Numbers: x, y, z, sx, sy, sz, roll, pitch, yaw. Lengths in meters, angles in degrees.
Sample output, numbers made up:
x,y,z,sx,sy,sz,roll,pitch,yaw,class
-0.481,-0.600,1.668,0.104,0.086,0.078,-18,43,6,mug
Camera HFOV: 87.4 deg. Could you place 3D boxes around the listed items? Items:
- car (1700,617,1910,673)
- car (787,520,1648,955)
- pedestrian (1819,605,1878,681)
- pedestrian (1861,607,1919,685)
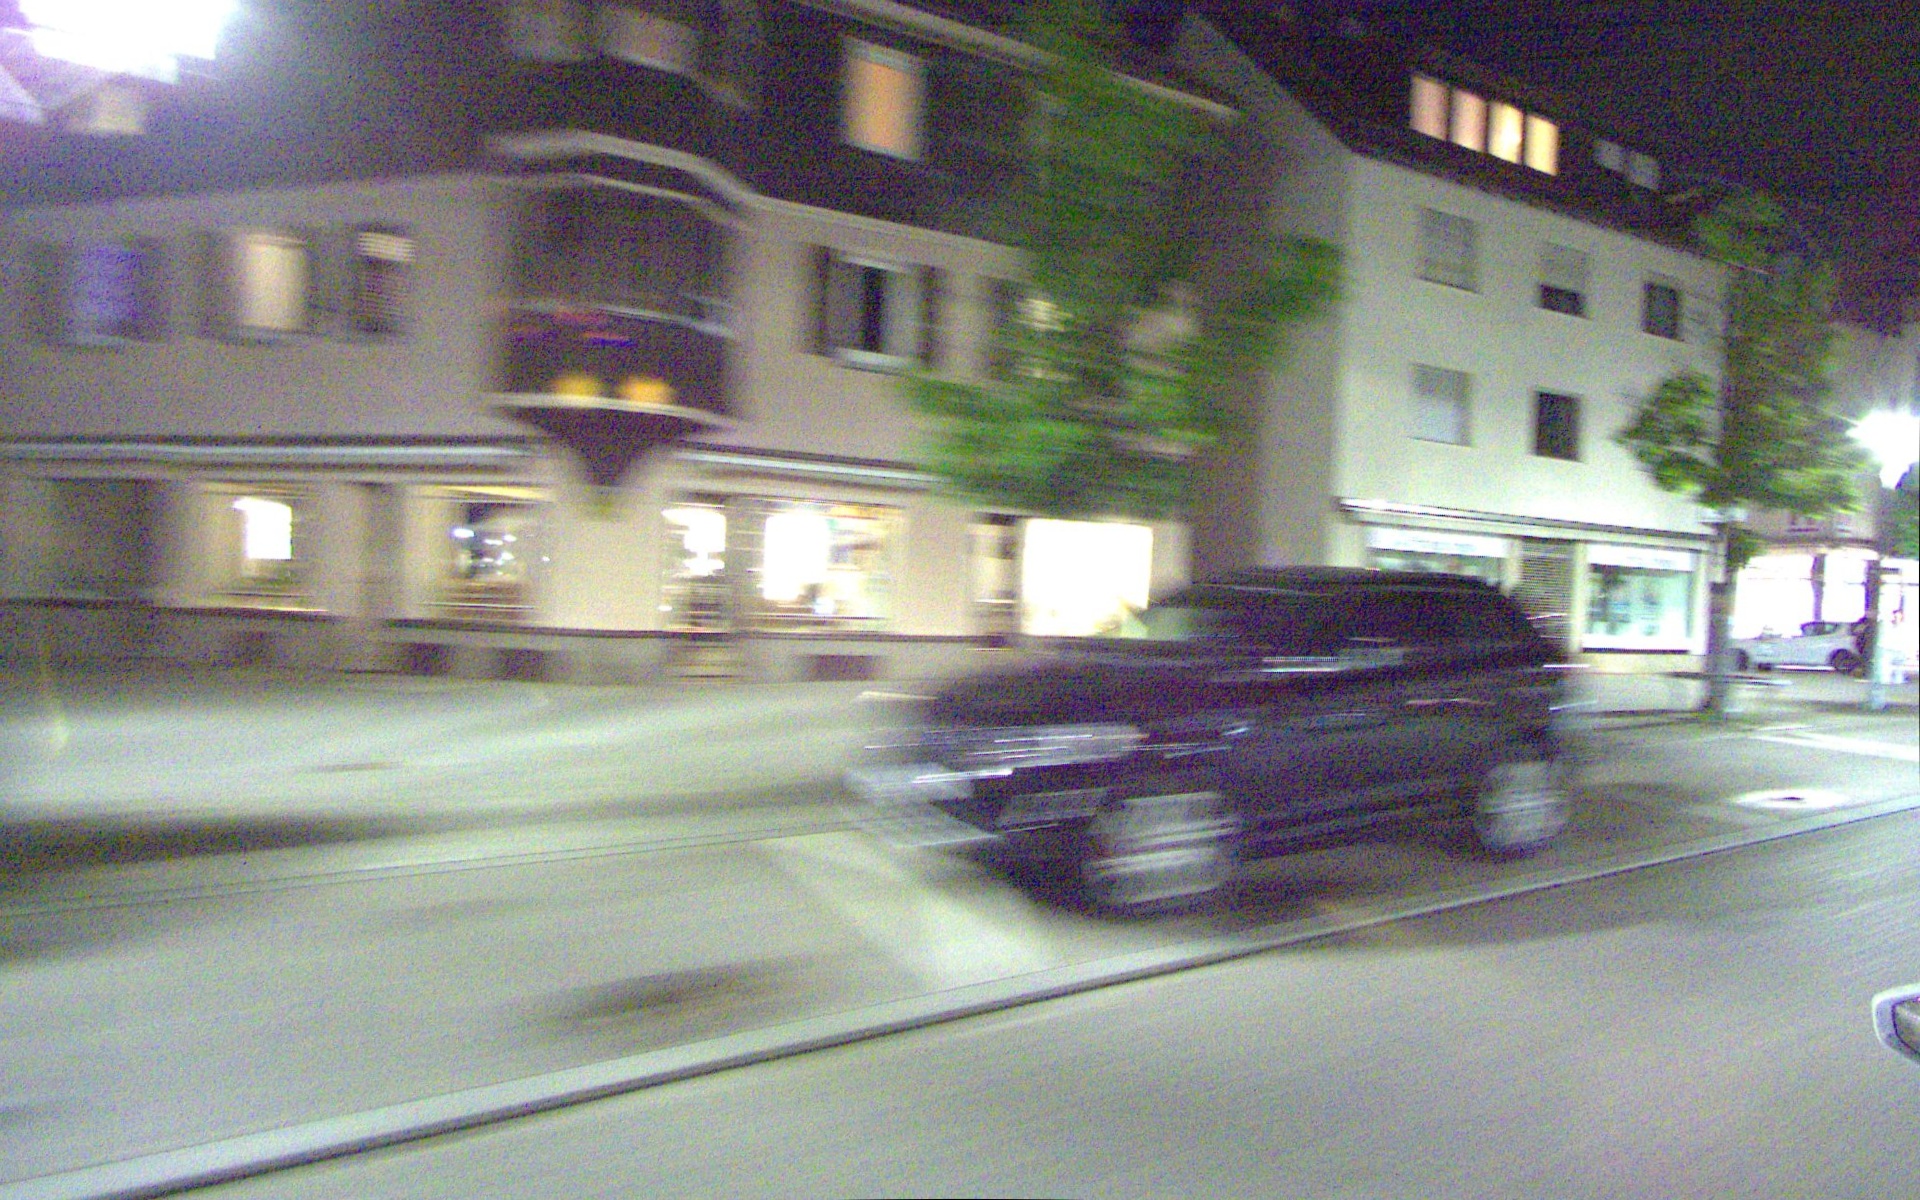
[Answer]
x,y,z,sx,sy,sz,roll,pitch,yaw,class
23.559,1.265,28.201,1.816,1.457,4.155,2,-3,-25,car
1.678,0.571,6.035,4.942,1.714,2.008,2,2,-29,car
20.365,0.959,23.021,0.806,1.678,0.766,0,1,-28,pedestrian
20.704,1.009,22.322,0.772,1.678,0.766,0,1,-28,pedestrian
